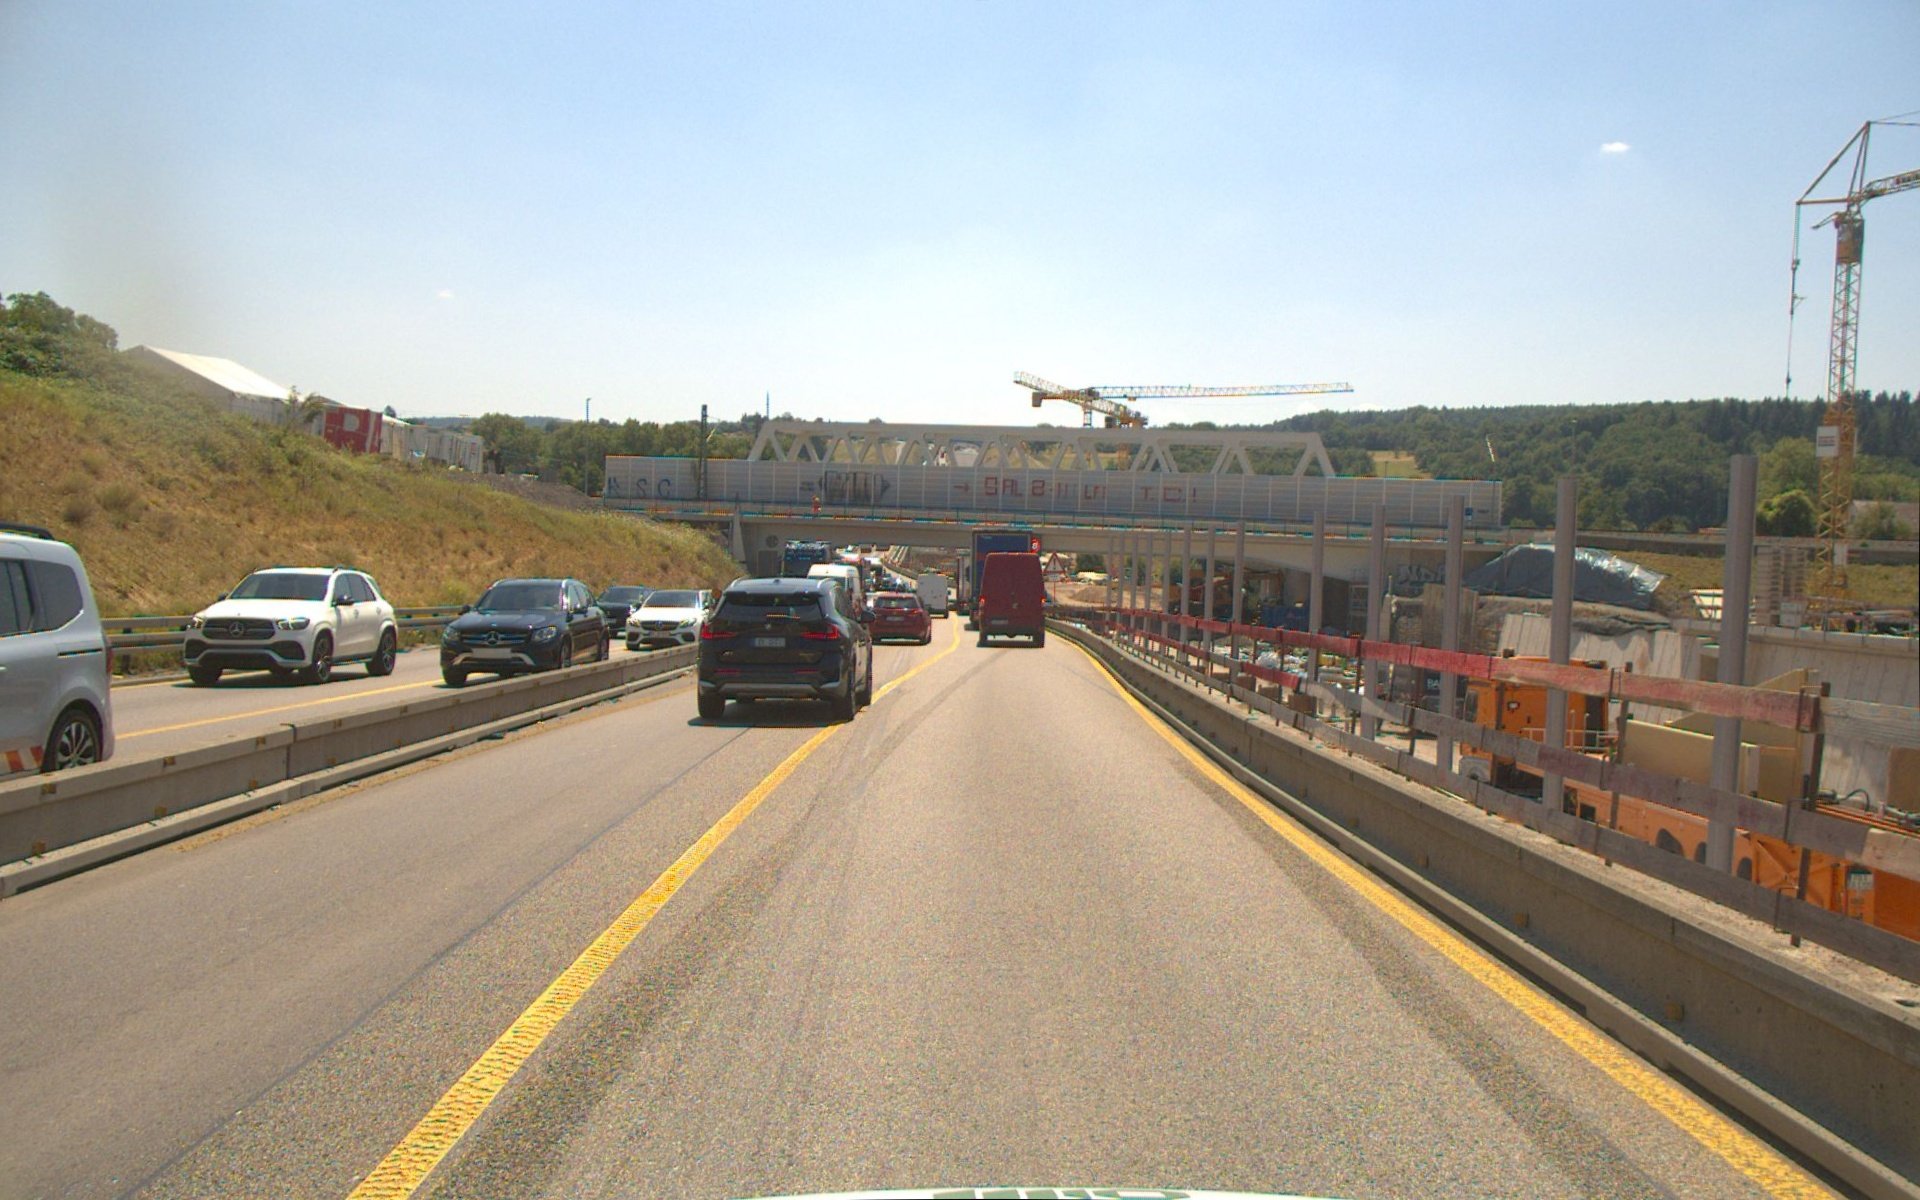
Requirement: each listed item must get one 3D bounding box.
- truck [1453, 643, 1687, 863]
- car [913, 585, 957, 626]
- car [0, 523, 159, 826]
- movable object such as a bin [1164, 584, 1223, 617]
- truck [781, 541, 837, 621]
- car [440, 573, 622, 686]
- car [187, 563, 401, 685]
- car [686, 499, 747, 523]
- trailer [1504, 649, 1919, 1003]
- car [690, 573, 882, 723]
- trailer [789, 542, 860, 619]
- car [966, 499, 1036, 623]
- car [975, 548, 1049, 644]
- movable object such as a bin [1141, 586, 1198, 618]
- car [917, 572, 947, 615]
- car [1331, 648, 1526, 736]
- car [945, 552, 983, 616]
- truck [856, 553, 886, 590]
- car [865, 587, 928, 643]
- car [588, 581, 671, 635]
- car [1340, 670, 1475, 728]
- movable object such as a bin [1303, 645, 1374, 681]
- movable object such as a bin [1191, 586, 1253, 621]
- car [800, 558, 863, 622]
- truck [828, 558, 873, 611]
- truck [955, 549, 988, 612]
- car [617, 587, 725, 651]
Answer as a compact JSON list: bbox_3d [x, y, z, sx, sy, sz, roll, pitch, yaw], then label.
[{"bbox_3d":[12.596,3.012,34.710,2.702,3.954,5.882,1,1,0],"label":"truck"},{"bbox_3d":[-1.081,0.213,70.671,1.802,1.683,4.163,0,1,-2],"label":"car"},{"bbox_3d":[-6.549,0.439,9.405,1.841,1.775,4.482,0,1,-1],"label":"car"},{"bbox_3d":[20.893,0.015,147.882,5.038,2.856,2.144,1,0,4],"label":"movable object such as a bin"},{"bbox_3d":[-7.954,-1.025,87.367,2.308,4.085,4.002,1,0,3],"label":"truck"},{"bbox_3d":[-6.876,0.414,27.029,1.754,1.639,4.733,1,1,-1],"label":"car"},{"bbox_3d":[-10.577,0.334,26.647,1.755,1.793,4.536,0,1,-2],"label":"car"},{"bbox_3d":[-19.754,-7.196,134.297,4.456,1.814,1.962,1,1,12],"label":"car"},{"bbox_3d":[12.601,3.095,27.642,2.702,3.954,13.049,1,1,0],"label":"trailer"},{"bbox_3d":[-2.038,0.502,20.556,1.841,1.646,4.500,0,1,1],"label":"car"},{"bbox_3d":[-7.558,-1.105,93.667,2.298,4.085,11.455,1,1,3],"label":"trailer"},{"bbox_3d":[1.716,-1.679,73.553,2.568,5.120,10.394,0,1,-1],"label":"car"},{"bbox_3d":[1.510,-0.142,49.517,1.948,2.737,4.622,0,1,-1],"label":"car"},{"bbox_3d":[19.327,0.153,152.694,5.038,2.856,2.144,1,0,4],"label":"movable object such as a bin"},{"bbox_3d":[-1.687,-0.383,98.075,1.740,2.484,4.205,0,1,-1],"label":"car"},{"bbox_3d":[16.320,3.192,57.801,5.979,2.629,2.524,2,2,-11],"label":"car"},{"bbox_3d":[0.220,-1.132,113.253,2.400,4.233,6.858,0,1,-1],"label":"car"},{"bbox_3d":[-9.714,-3.105,181.122,2.777,3.919,12.909,1,1,-1],"label":"truck"},{"bbox_3d":[-1.851,0.398,48.468,1.740,1.544,4.204,0,1,-2],"label":"car"},{"bbox_3d":[-10.040,0.212,50.518,1.659,1.558,4.000,1,1,1],"label":"car"},{"bbox_3d":[17.374,3.832,64.316,4.631,1.804,2.001,3,2,0],"label":"car"},{"bbox_3d":[18.713,3.105,81.784,3.044,1.590,1.548,2,1,35],"label":"movable object such as a bin"},{"bbox_3d":[22.336,0.296,141.115,5.038,2.856,2.144,1,0,4],"label":"movable object such as a bin"},{"bbox_3d":[-5.597,-0.463,72.828,1.952,2.652,7.012,1,1,2],"label":"car"},{"bbox_3d":[-8.562,-1.214,130.985,2.777,3.919,12.910,1,1,-1],"label":"truck"},{"bbox_3d":[0.988,-1.829,153.108,2.777,5.493,12.912,1,1,0],"label":"truck"},{"bbox_3d":[-7.330,0.438,42.473,1.921,1.489,4.940,1,1,-1],"label":"car"}]
